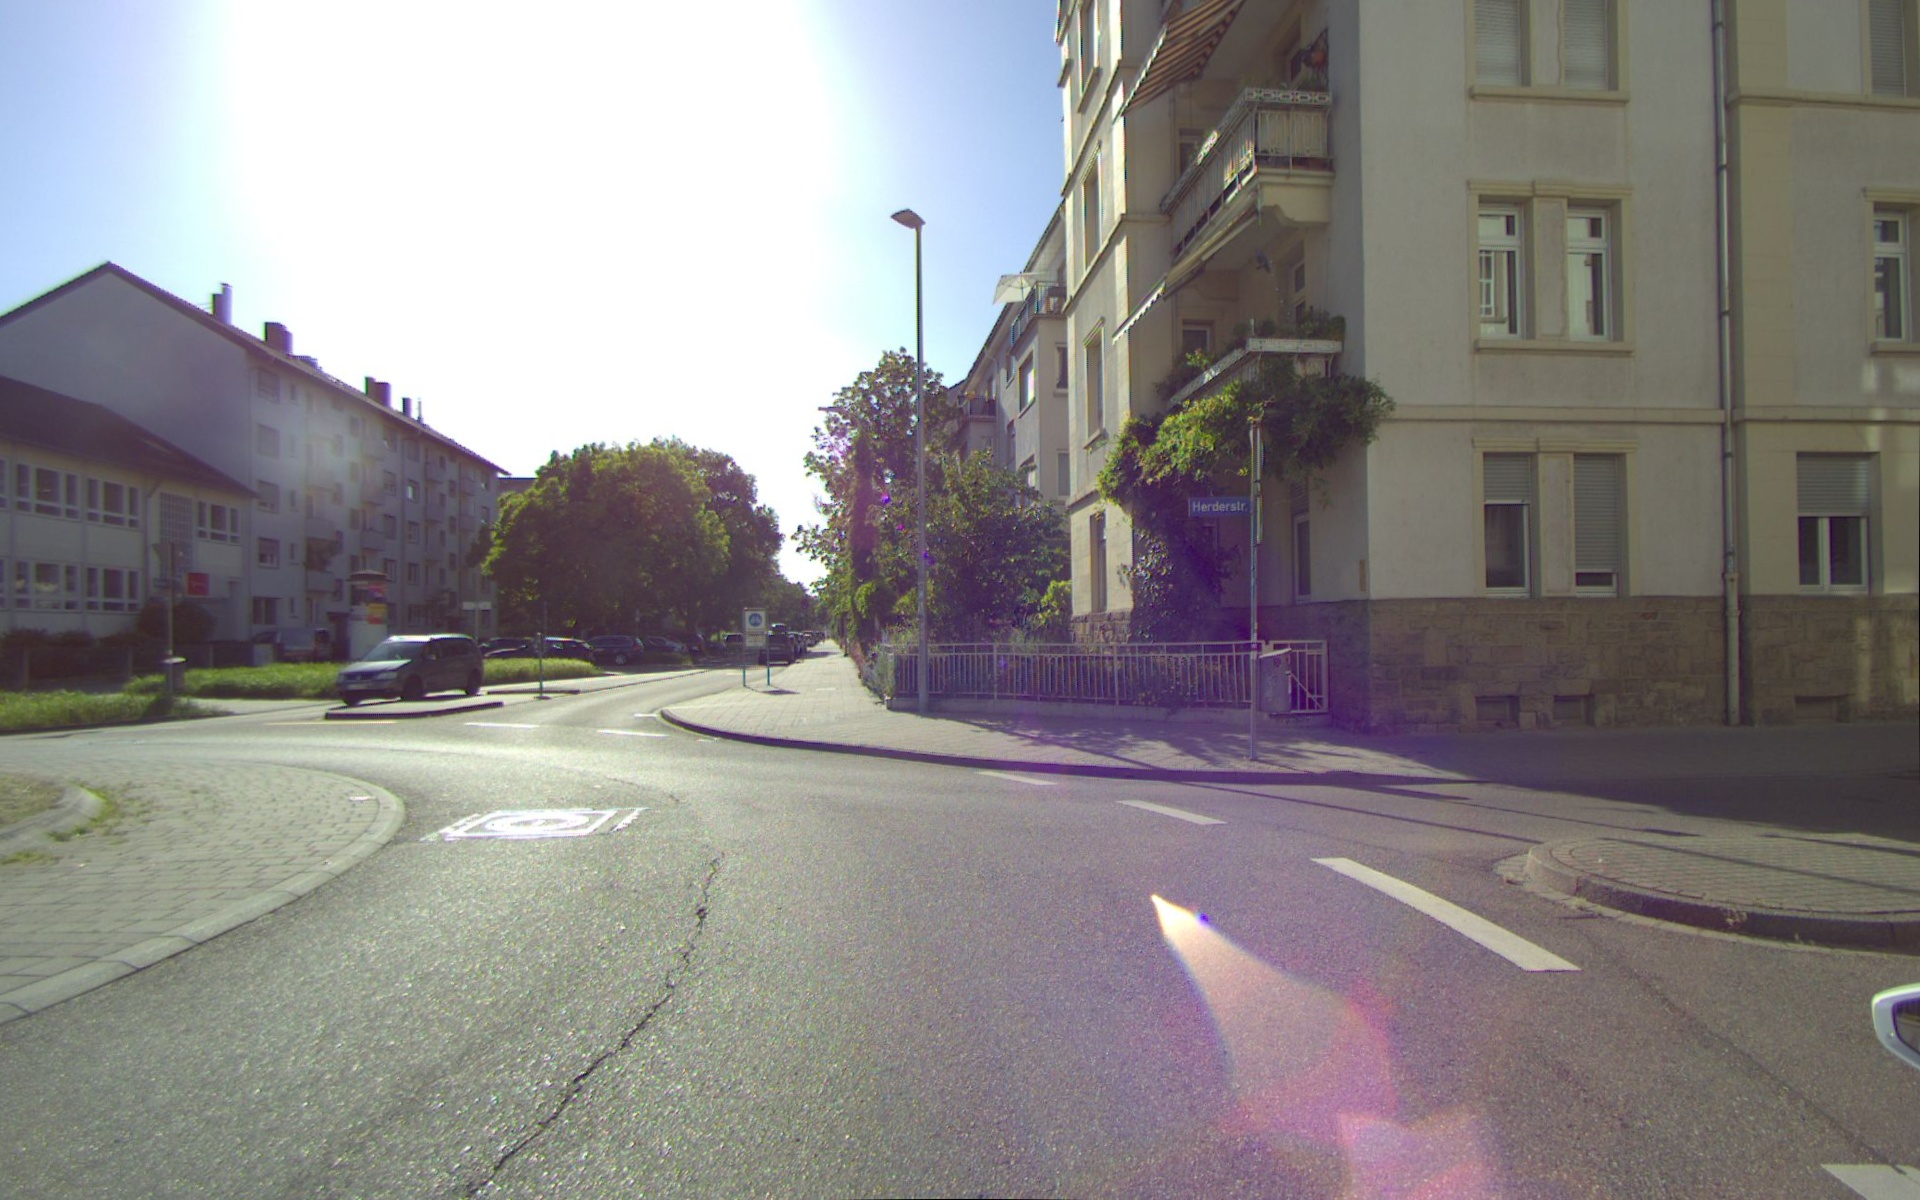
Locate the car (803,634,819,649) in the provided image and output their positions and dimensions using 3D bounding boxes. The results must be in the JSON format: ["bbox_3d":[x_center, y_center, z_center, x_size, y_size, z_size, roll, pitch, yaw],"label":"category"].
[{"bbox_3d":[-19.071,5.318,128.493,1.816,1.929,3.997,-1,-2,-6],"label":"car"}]

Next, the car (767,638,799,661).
[{"bbox_3d":[-11.519,3.224,65.571,1.816,1.398,3.997,-1,-2,-6],"label":"car"}]

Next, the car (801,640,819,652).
[{"bbox_3d":[-17.470,5.366,117.035,1.816,1.398,3.997,-1,-2,-6],"label":"car"}]

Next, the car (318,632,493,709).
[{"bbox_3d":[-14.193,1.753,26.030,1.843,1.718,4.276,-2,-1,6],"label":"car"}]

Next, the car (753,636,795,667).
[{"bbox_3d":[-9.682,2.668,52.564,1.816,1.559,3.997,-1,-2,-6],"label":"car"}]

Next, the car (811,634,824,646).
[{"bbox_3d":[-21.915,6.167,154.916,1.816,1.929,3.997,-1,-2,-6],"label":"car"}]

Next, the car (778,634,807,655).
[{"bbox_3d":[-11.988,3.157,71.980,1.816,1.398,3.997,-1,-2,-6],"label":"car"}]

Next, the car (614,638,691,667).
[{"bbox_3d":[-17.166,2.929,56.254,3.930,1.506,1.847,-1,-2,-12],"label":"car"}]

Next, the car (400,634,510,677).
[{"bbox_3d":[-22.548,2.461,44.933,3.921,1.795,2.000,-1,-2,0],"label":"car"}]

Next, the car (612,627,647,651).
[{"bbox_3d":[-22.520,2.662,68.510,1.819,1.542,3.991,-1,-2,-12],"label":"car"}]

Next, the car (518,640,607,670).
[{"bbox_3d":[-21.112,2.915,53.442,3.921,1.483,2.000,-1,-2,0],"label":"car"}]
